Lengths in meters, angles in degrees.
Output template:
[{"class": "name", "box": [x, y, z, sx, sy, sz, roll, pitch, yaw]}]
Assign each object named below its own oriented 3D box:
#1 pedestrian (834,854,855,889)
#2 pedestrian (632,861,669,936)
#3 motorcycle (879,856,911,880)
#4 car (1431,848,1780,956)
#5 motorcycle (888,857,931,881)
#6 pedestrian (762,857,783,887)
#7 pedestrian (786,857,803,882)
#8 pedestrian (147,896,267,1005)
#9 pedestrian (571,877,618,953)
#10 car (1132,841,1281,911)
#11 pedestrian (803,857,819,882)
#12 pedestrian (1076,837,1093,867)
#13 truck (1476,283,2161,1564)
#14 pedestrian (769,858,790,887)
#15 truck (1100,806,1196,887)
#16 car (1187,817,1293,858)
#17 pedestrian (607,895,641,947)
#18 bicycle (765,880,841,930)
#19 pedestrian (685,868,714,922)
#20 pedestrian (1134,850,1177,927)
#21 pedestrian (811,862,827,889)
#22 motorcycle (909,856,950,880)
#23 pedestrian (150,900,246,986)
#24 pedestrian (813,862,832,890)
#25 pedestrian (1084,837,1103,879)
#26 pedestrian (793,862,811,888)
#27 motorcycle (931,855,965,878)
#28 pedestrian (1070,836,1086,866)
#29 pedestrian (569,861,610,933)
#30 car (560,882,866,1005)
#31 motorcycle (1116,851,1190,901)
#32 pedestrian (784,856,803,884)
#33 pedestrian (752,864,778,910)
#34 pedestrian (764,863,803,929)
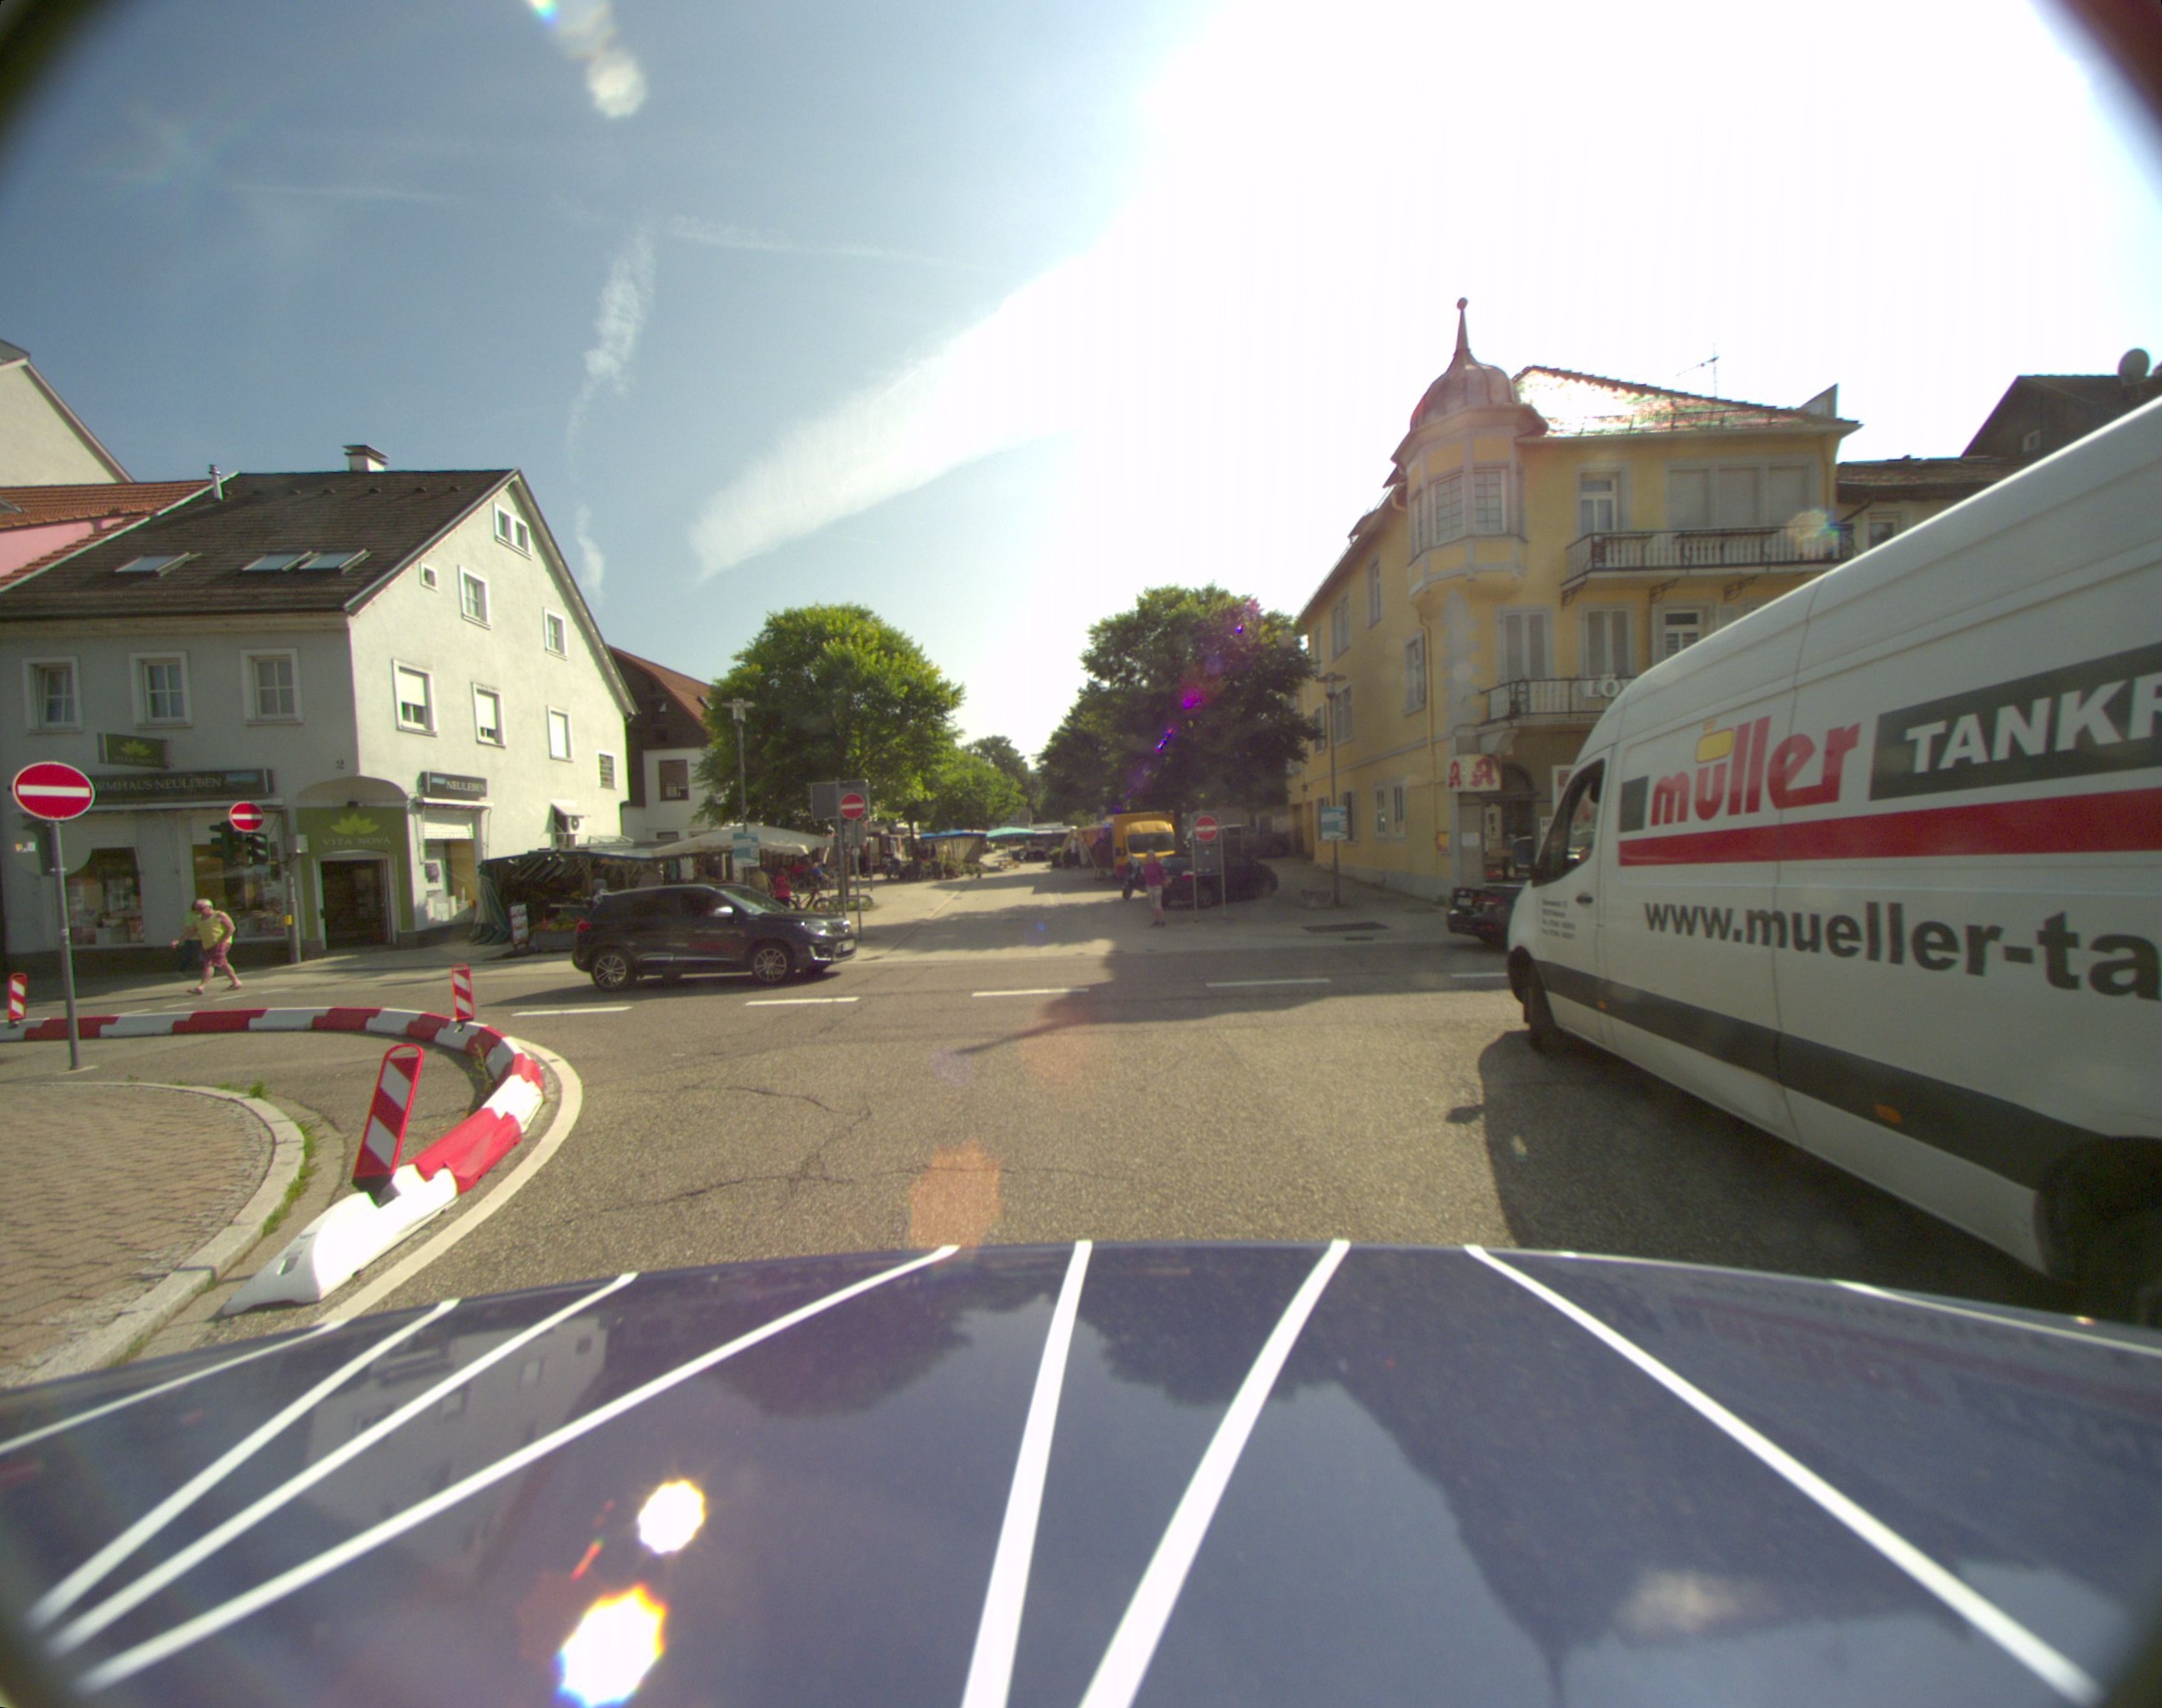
[{"class": "pedestrian", "box": [-10.680, 0.770, 34.318, 0.698, 1.545, 0.572, 0, 2, 6]}, {"class": "pedestrian", "box": [-11.843, 1.204, 20.919, 0.708, 1.974, 0.651, -3, 1, -21]}, {"class": "motorcycle", "box": [-9.637, 0.721, 39.424, 1.531, 1.189, 0.643, 0, 2, 0]}, {"class": "car", "box": [8.029, 0.707, 11.942, 4.196, 1.348, 1.756, -3, 0, 1]}, {"class": "motorcycle", "box": [-8.652, 0.743, 38.359, 2.002, 1.189, 0.644, 0, 2, 13]}, {"class": "pedestrian", "box": [-14.097, 0.819, 34.680, 0.626, 1.323, 0.699, 0, 2, 3]}, {"class": "pedestrian", "box": [-14.215, 0.755, 37.668, 0.572, 1.194, 0.650, 0, 2, 1]}, {"class": "pedestrian", "box": [-15.976, 1.732, 13.936, 0.908, 1.805, 1.019, -3, 3, -14]}, {"class": "pedestrian", "box": [-11.590, 1.442, 18.131, 0.789, 1.714, 0.706, -3, 1, -25]}, {"class": "car", "box": [3.572, 0.545, 21.326, 3.965, 1.534, 1.918, -5, 3, -39]}, {"class": "pedestrian", "box": [-13.419, 0.758, 37.772, 0.572, 1.194, 0.650, 0, 2, 1]}, {"class": "pedestrian", "box": [0.185, -0.125, 43.024, 0.682, 1.673, 0.582, -5, 3, -17]}, {"class": "truck", "box": [3.724, 0.158, 3.080, 2.108, 2.682, 7.142, -2, -1, 14]}, {"class": "pedestrian", "box": [-14.121, 0.845, 35.610, 0.626, 1.323, 0.699, 0, 2, 3]}, {"class": "truck", "box": [2.525, -0.413, 31.676, 3.008, 2.743, 8.857, -3, 2, 0]}, {"class": "car", "box": [8.326, -0.854, 40.109, 5.071, 1.880, 1.999, -2, 1, -4]}, {"class": "pedestrian", "box": [-10.849, 1.583, 18.057, 0.623, 1.154, 0.515, -3, 1, -29]}, {"class": "bicycle", "box": [-7.735, 1.412, 21.212, 1.863, 1.228, 0.616, -3, 1, -13]}, {"class": "pedestrian", "box": [-11.942, 1.271, 23.806, 0.522, 1.617, 0.707, -2, 1, -4]}, {"class": "pedestrian", "box": [1.724, 0.791, 17.475, 0.678, 1.705, 0.618, -2, 2, 36]}, {"class": "pedestrian", "box": [-11.876, 0.952, 34.401, 0.572, 1.194, 0.650, -1, 2, -10]}, {"class": "motorcycle", "box": [-7.767, 0.698, 38.996, 2.002, 1.189, 0.644, 0, 2, 13]}, {"class": "pedestrian", "box": [-18.226, 1.822, 15.706, 0.858, 1.623, 0.788, -3, 4, 1]}, {"class": "pedestrian", "box": [-11.408, 0.985, 33.532, 0.700, 1.194, 0.571, -1, 2, -14]}, {"class": "pedestrian", "box": [0.543, 0.164, 32.927, 0.681, 1.777, 0.726, -5, 3, -1]}, {"class": "pedestrian", "box": [-12.831, 0.958, 34.975, 0.572, 1.194, 0.650, 0, 2, 1]}, {"class": "motorcycle", "box": [-6.986, 0.642, 39.864, 1.999, 1.189, 0.645, 1, 2, 42]}, {"class": "pedestrian", "box": [-0.176, -0.156, 43.543, 0.682, 1.672, 0.582, -5, 1, -16]}, {"class": "pedestrian", "box": [-13.692, 1.190, 21.171, 0.507, 1.959, 0.708, -2, 1, 26]}, {"class": "car", "box": [-5.691, 1.364, 12.067, 3.967, 1.552, 1.684, -3, 1, 3]}, {"class": "motorcycle", "box": [2.231, 0.666, 23.758, 2.086, 1.353, 0.888, -5, 1, -2]}, {"class": "pedestrian", "box": [-13.866, 0.770, 36.686, 0.626, 1.323, 0.699, 0, 2, 3]}, {"class": "pedestrian", "box": [-10.696, 1.107, 25.758, 0.622, 1.509, 0.632, -2, 1, -10]}, {"class": "pedestrian", "box": [-7.790, 1.086, 19.917, 0.884, 1.649, 0.571, -1, 3, -25]}]
